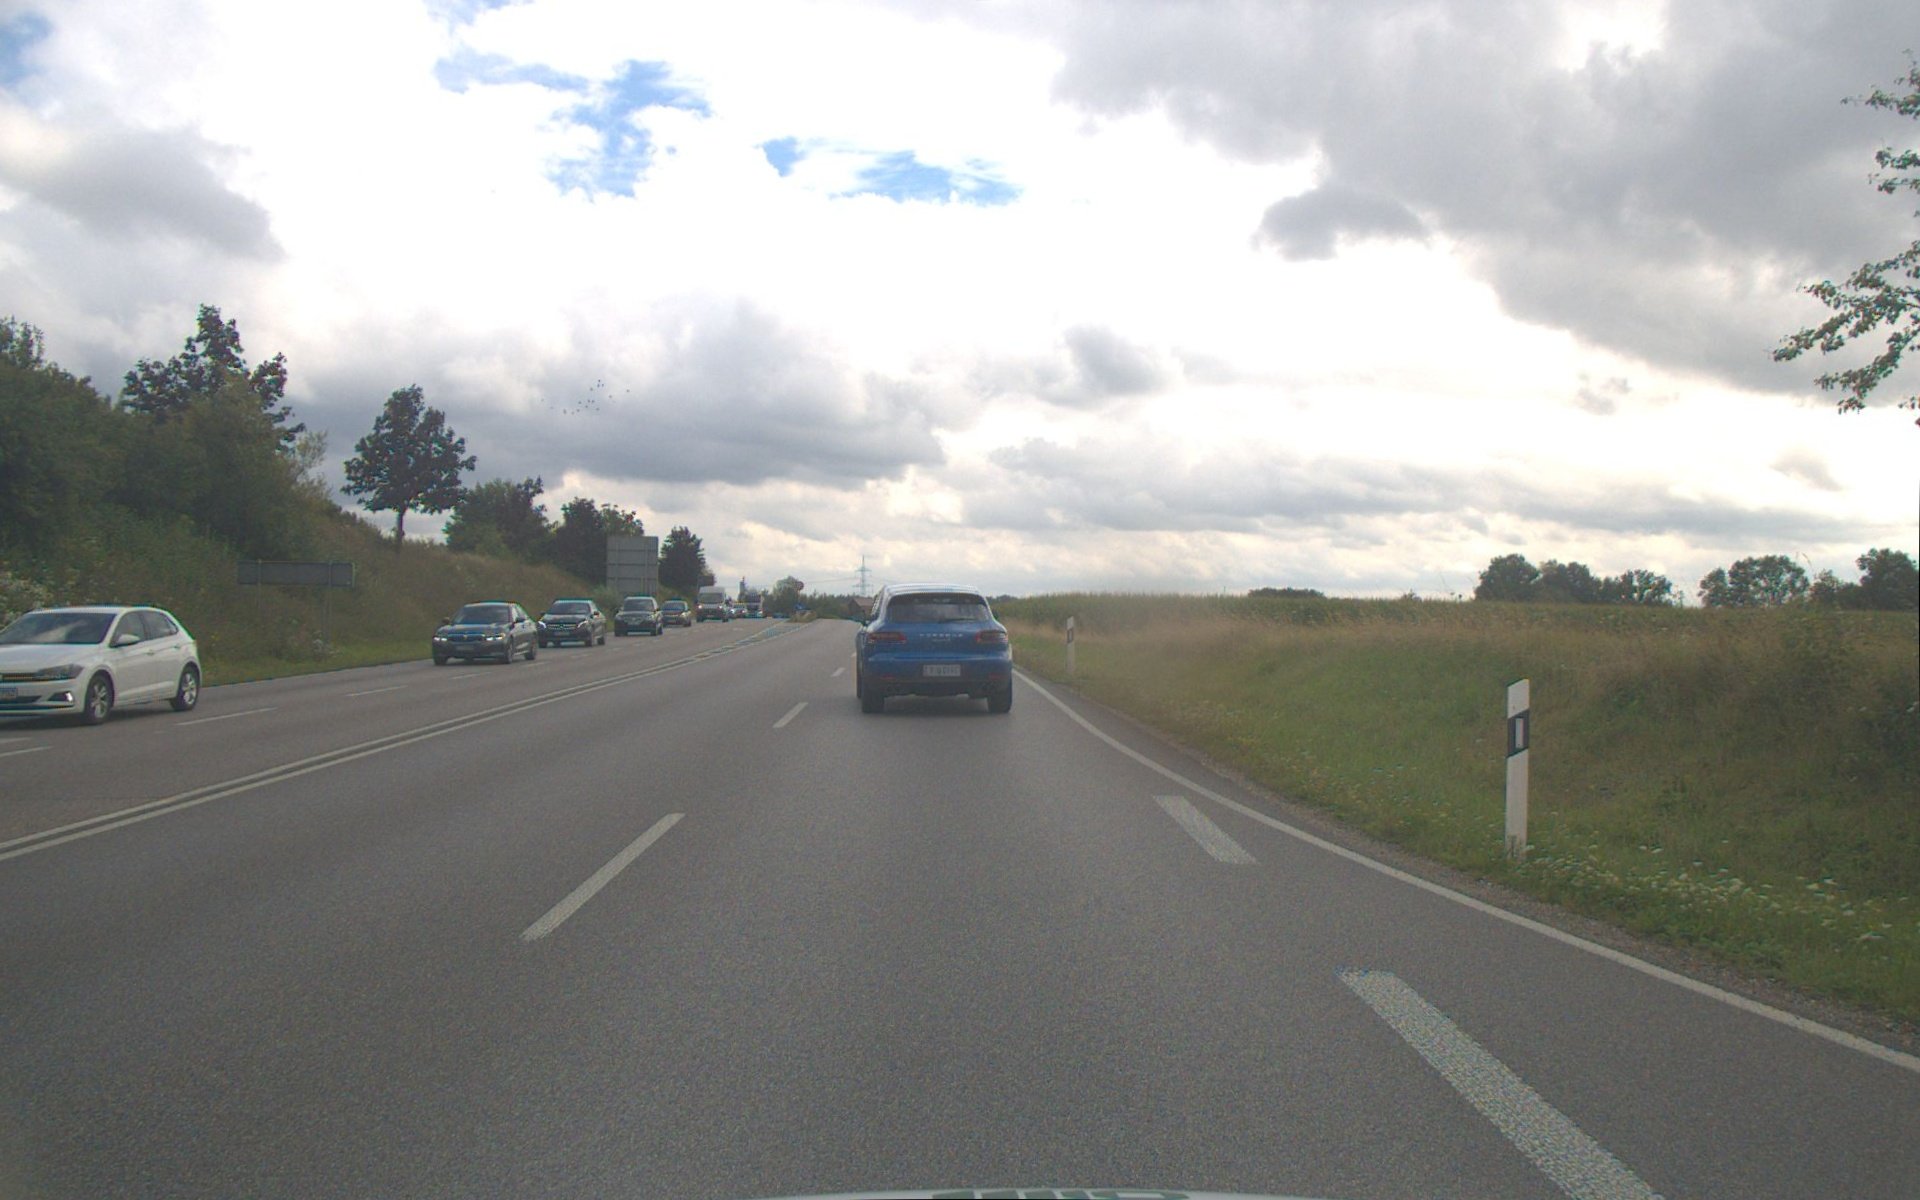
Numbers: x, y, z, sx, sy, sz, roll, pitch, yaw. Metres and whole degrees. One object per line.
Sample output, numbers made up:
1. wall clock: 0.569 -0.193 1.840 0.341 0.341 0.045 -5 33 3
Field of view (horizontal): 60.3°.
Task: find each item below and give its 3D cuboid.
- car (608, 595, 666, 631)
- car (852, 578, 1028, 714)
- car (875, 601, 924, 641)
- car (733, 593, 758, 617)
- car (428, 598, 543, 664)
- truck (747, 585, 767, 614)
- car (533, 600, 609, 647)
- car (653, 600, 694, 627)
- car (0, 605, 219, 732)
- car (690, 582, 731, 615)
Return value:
1. car: -14.171 0.567 72.731 1.954 1.534 3.998 0 0 -3
2. car: -0.388 0.555 22.296 1.955 1.598 4.750 -1 0 -6
3. car: -2.493 0.838 67.982 1.953 1.562 3.998 1 0 -3
4. car: -20.412 0.462 157.632 2.319 2.250 5.299 -1 0 -7
5. car: -11.640 0.732 40.839 1.954 1.534 3.996 0 0 -4
6. truck: -27.107 -0.053 220.696 2.519 3.699 14.637 -1 0 -7
7. car: -13.057 0.761 55.740 1.760 1.512 4.166 -1 0 -3
8. car: -16.432 0.767 94.974 1.954 1.517 3.996 -1 0 -5
9. car: -11.250 0.807 21.403 1.634 1.467 4.144 0 0 -3
10. car: -17.599 -0.085 116.825 2.317 2.250 5.917 -1 0 -4
